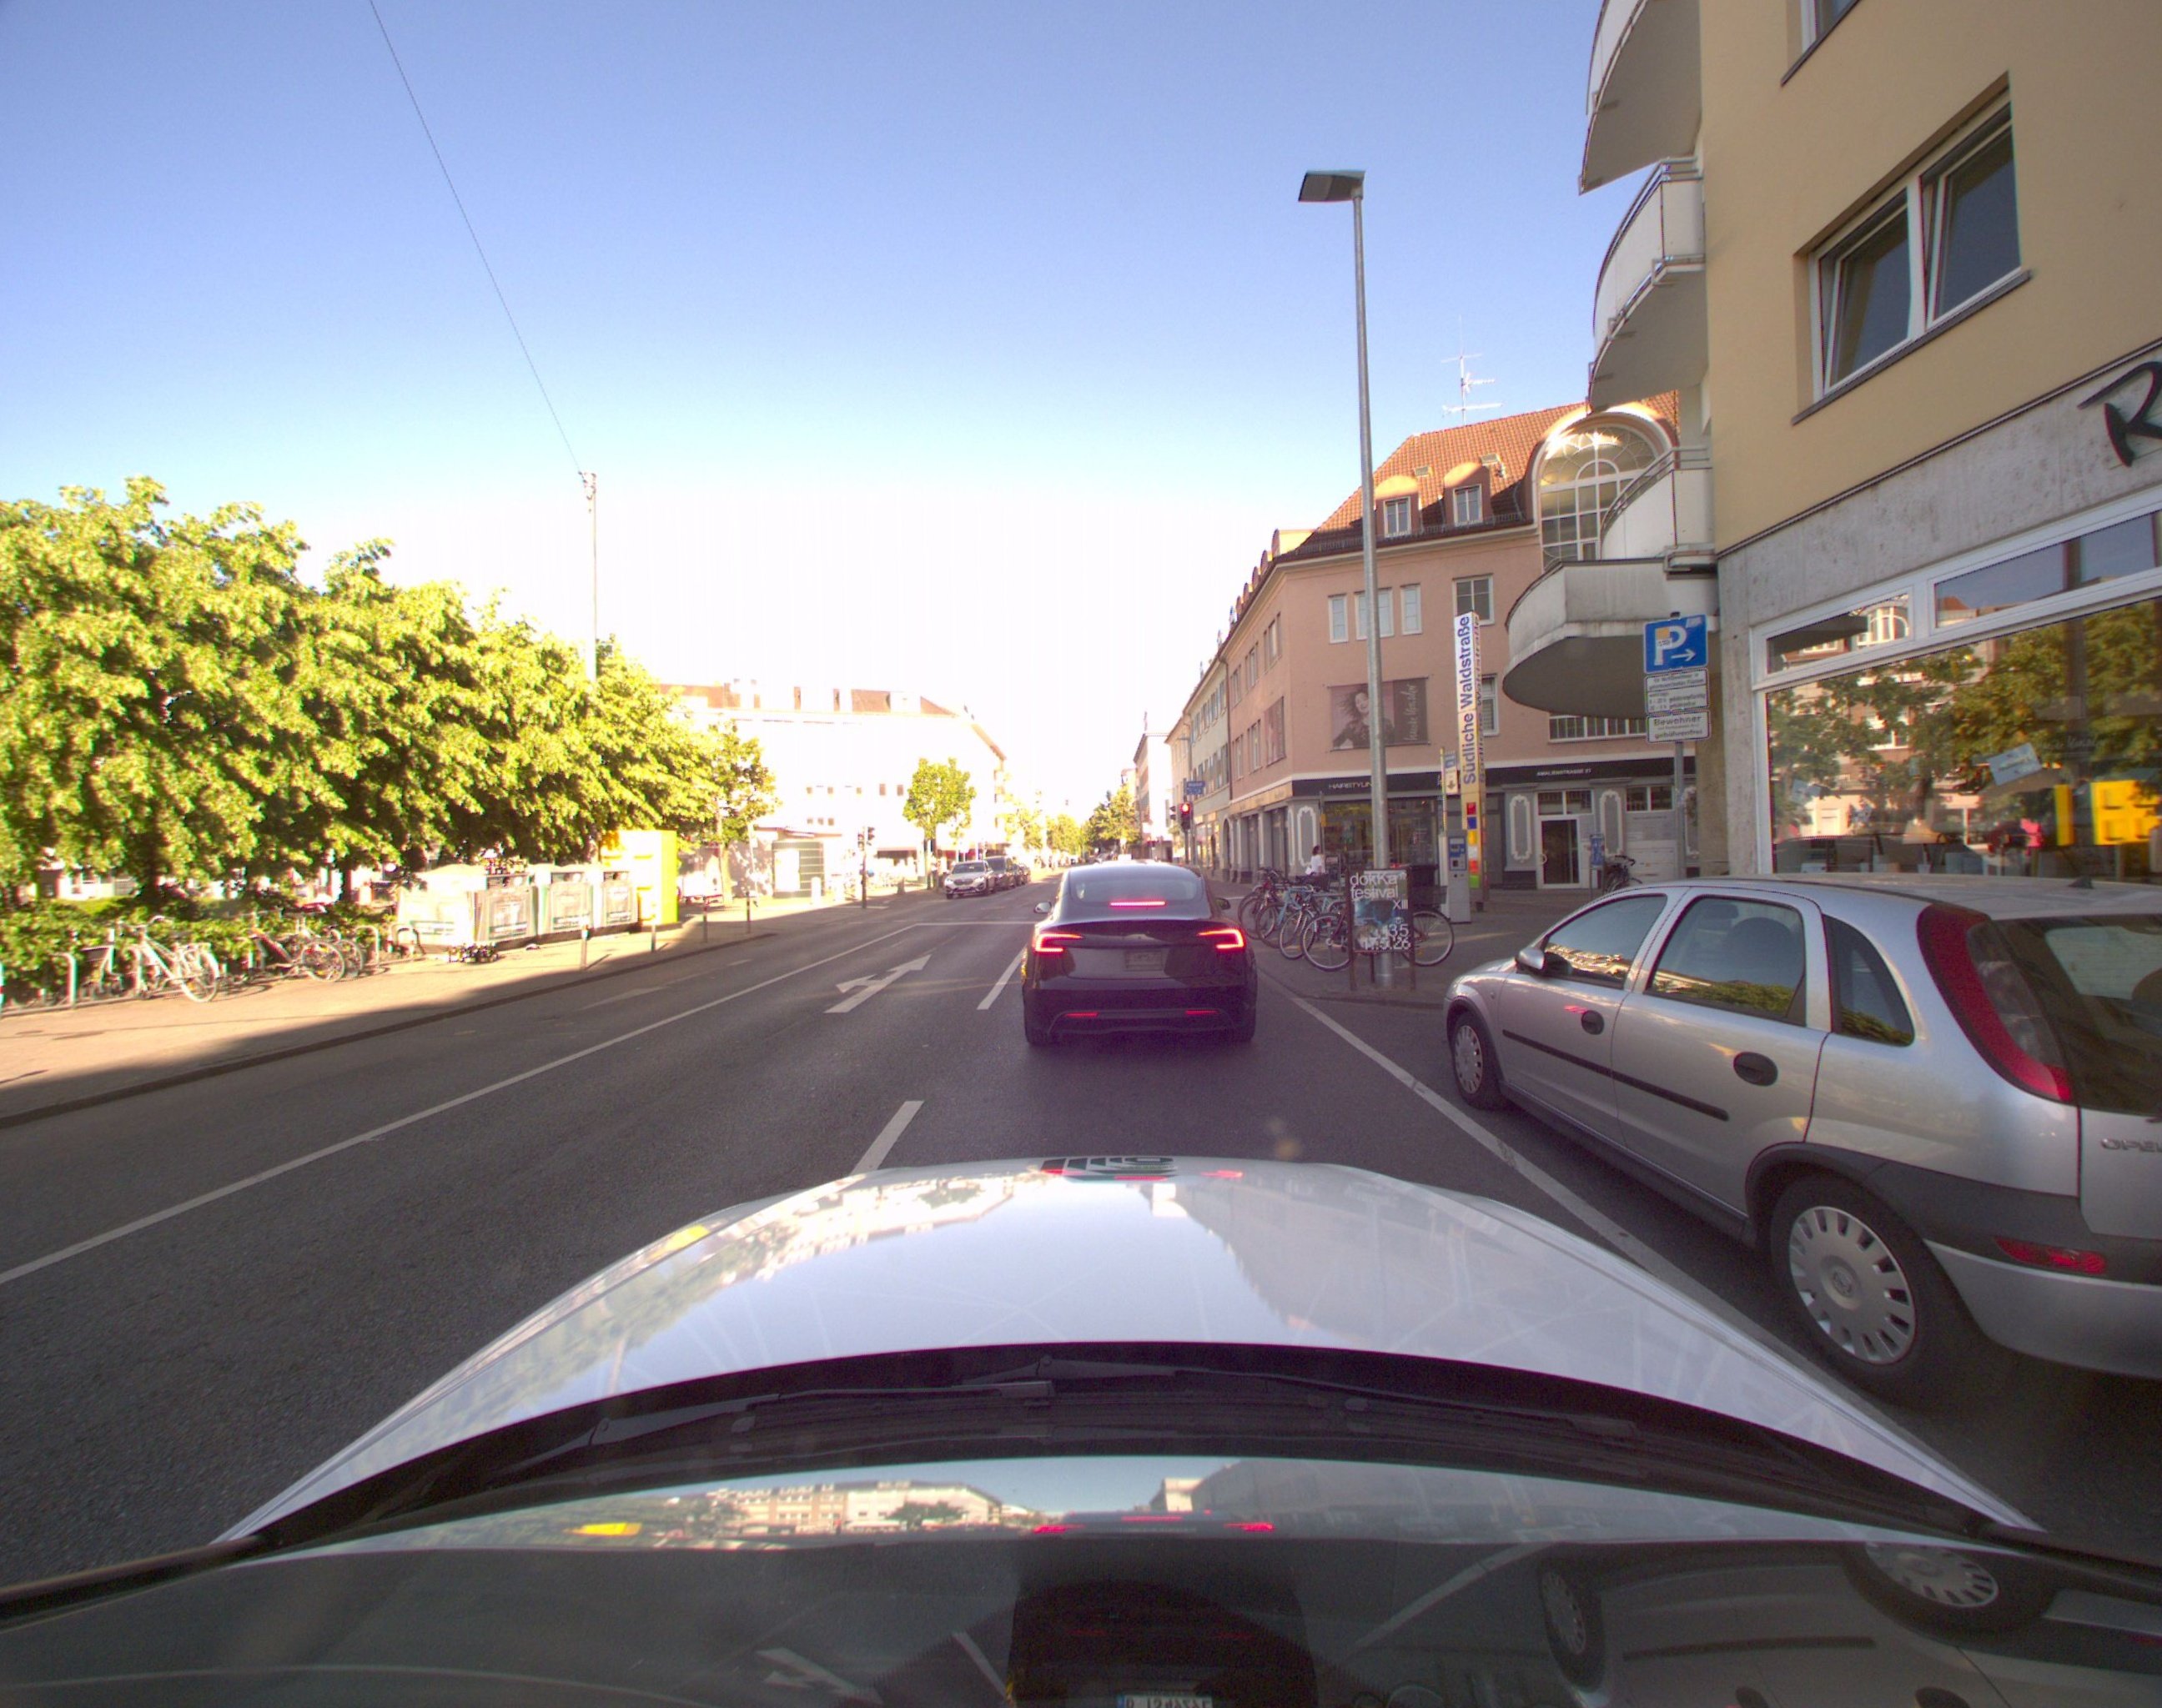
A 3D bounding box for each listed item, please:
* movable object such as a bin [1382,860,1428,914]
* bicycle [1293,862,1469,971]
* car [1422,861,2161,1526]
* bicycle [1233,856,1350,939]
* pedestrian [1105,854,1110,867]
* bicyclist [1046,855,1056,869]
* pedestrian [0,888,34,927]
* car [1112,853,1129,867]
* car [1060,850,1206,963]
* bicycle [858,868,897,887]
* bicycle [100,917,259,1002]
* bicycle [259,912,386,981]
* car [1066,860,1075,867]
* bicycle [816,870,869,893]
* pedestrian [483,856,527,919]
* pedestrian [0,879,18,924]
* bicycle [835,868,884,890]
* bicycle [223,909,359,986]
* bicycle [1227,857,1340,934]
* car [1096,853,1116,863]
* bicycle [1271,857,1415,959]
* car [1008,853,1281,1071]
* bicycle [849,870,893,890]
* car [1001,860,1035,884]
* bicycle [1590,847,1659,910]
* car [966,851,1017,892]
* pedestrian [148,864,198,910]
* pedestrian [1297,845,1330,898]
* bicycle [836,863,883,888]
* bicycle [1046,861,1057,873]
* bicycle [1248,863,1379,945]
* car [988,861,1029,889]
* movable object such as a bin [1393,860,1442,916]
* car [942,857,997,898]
[{"bbox_3d":[6.756,0.678,16.989,0.730,1.092,0.628,0,-1,3],"label":"movable object such as a bin"},{"bbox_3d":[3.641,0.754,10.026,1.876,1.193,0.693,-3,0,7],"label":"bicycle"},{"bbox_3d":[2.973,0.734,3.532,1.607,1.382,3.645,0,0,2],"label":"car"},{"bbox_3d":[3.510,0.713,13.694,1.738,1.267,0.782,-3,-1,4],"label":"bicycle"},{"bbox_3d":[3.953,0.954,120.520,0.639,2.014,0.690,-1,-1,-2],"label":"pedestrian"},{"bbox_3d":[-3.496,0.924,95.894,1.123,1.628,0.965,-1,0,-1],"label":"bicyclist"},{"bbox_3d":[-57.483,2.873,43.846,1.272,2.013,0.908,-1,0,13],"label":"pedestrian"},{"bbox_3d":[4.873,0.788,100.860,1.986,1.629,4.002,-2,0,2],"label":"car"},{"bbox_3d":[0.744,0.726,13.322,1.987,1.512,4.175,-1,0,0],"label":"car"},{"bbox_3d":[-13.160,1.516,52.700,2.318,1.156,0.841,-1,0,-4],"label":"bicycle"},{"bbox_3d":[-11.451,1.331,10.360,1.590,1.018,0.430,-1,0,3],"label":"bicycle"},{"bbox_3d":[-11.351,1.380,12.202,1.517,0.958,0.431,-1,1,3],"label":"bicycle"},{"bbox_3d":[-2.472,2.153,187.379,1.988,1.637,3.998,-1,0,-1],"label":"car"},{"bbox_3d":[-12.577,1.439,43.030,2.497,1.156,0.843,-1,0,0],"label":"bicycle"},{"bbox_3d":[-18.897,1.087,26.720,0.980,2.013,0.910,-1,-1,40],"label":"pedestrian"},{"bbox_3d":[-49.421,2.167,37.100,0.982,2.014,0.908,-1,-1,15],"label":"pedestrian"},{"bbox_3d":[-12.370,1.366,45.559,2.453,1.156,0.843,-1,0,0],"label":"bicycle"},{"bbox_3d":[-11.315,1.336,11.679,1.561,1.023,0.430,-1,0,3],"label":"bicycle"},{"bbox_3d":[3.626,0.741,14.722,1.851,1.258,0.834,-3,-1,7],"label":"bicycle"},{"bbox_3d":[5.133,0.841,167.683,3.974,2.013,2.000,-1,0,0],"label":"car"},{"bbox_3d":[3.545,0.728,11.161,1.713,1.268,0.792,-3,-1,7],"label":"bicycle"},{"bbox_3d":[0.502,0.760,7.614,1.841,1.455,4.001,-2,0,2],"label":"car"},{"bbox_3d":[-12.944,1.572,50.265,2.528,1.156,0.841,-1,0,-4],"label":"bicycle"},{"bbox_3d":[-4.387,1.257,57.287,1.988,1.436,4.672,-5,0,-1],"label":"car"},{"bbox_3d":[11.110,0.476,16.721,0.653,1.199,2.223,-2,0,21],"label":"bicycle"},{"bbox_3d":[-4.633,0.866,42.870,1.827,1.845,4.677,-5,0,2],"label":"car"},{"bbox_3d":[-40.278,1.456,36.136,1.388,2.014,0.908,-1,0,14],"label":"pedestrian"},{"bbox_3d":[6.939,0.509,24.355,0.745,1.552,0.698,-1,0,-3],"label":"pedestrian"},{"bbox_3d":[-12.901,1.246,47.506,2.472,1.324,0.921,-1,0,-4],"label":"bicycle"},{"bbox_3d":[-3.470,1.539,95.797,1.108,1.344,3.998,-1,0,-1],"label":"bicycle"},{"bbox_3d":[3.525,0.756,12.514,1.788,1.124,0.783,-3,-1,7],"label":"bicycle"},{"bbox_3d":[-4.357,1.233,49.689,1.988,1.410,4.672,-5,0,-1],"label":"car"},{"bbox_3d":[6.747,0.673,16.351,0.749,1.092,0.628,0,-1,3],"label":"movable object such as a bin"},{"bbox_3d":[-4.939,0.993,36.622,1.802,1.555,4.308,-5,0,-1],"label":"car"}]
